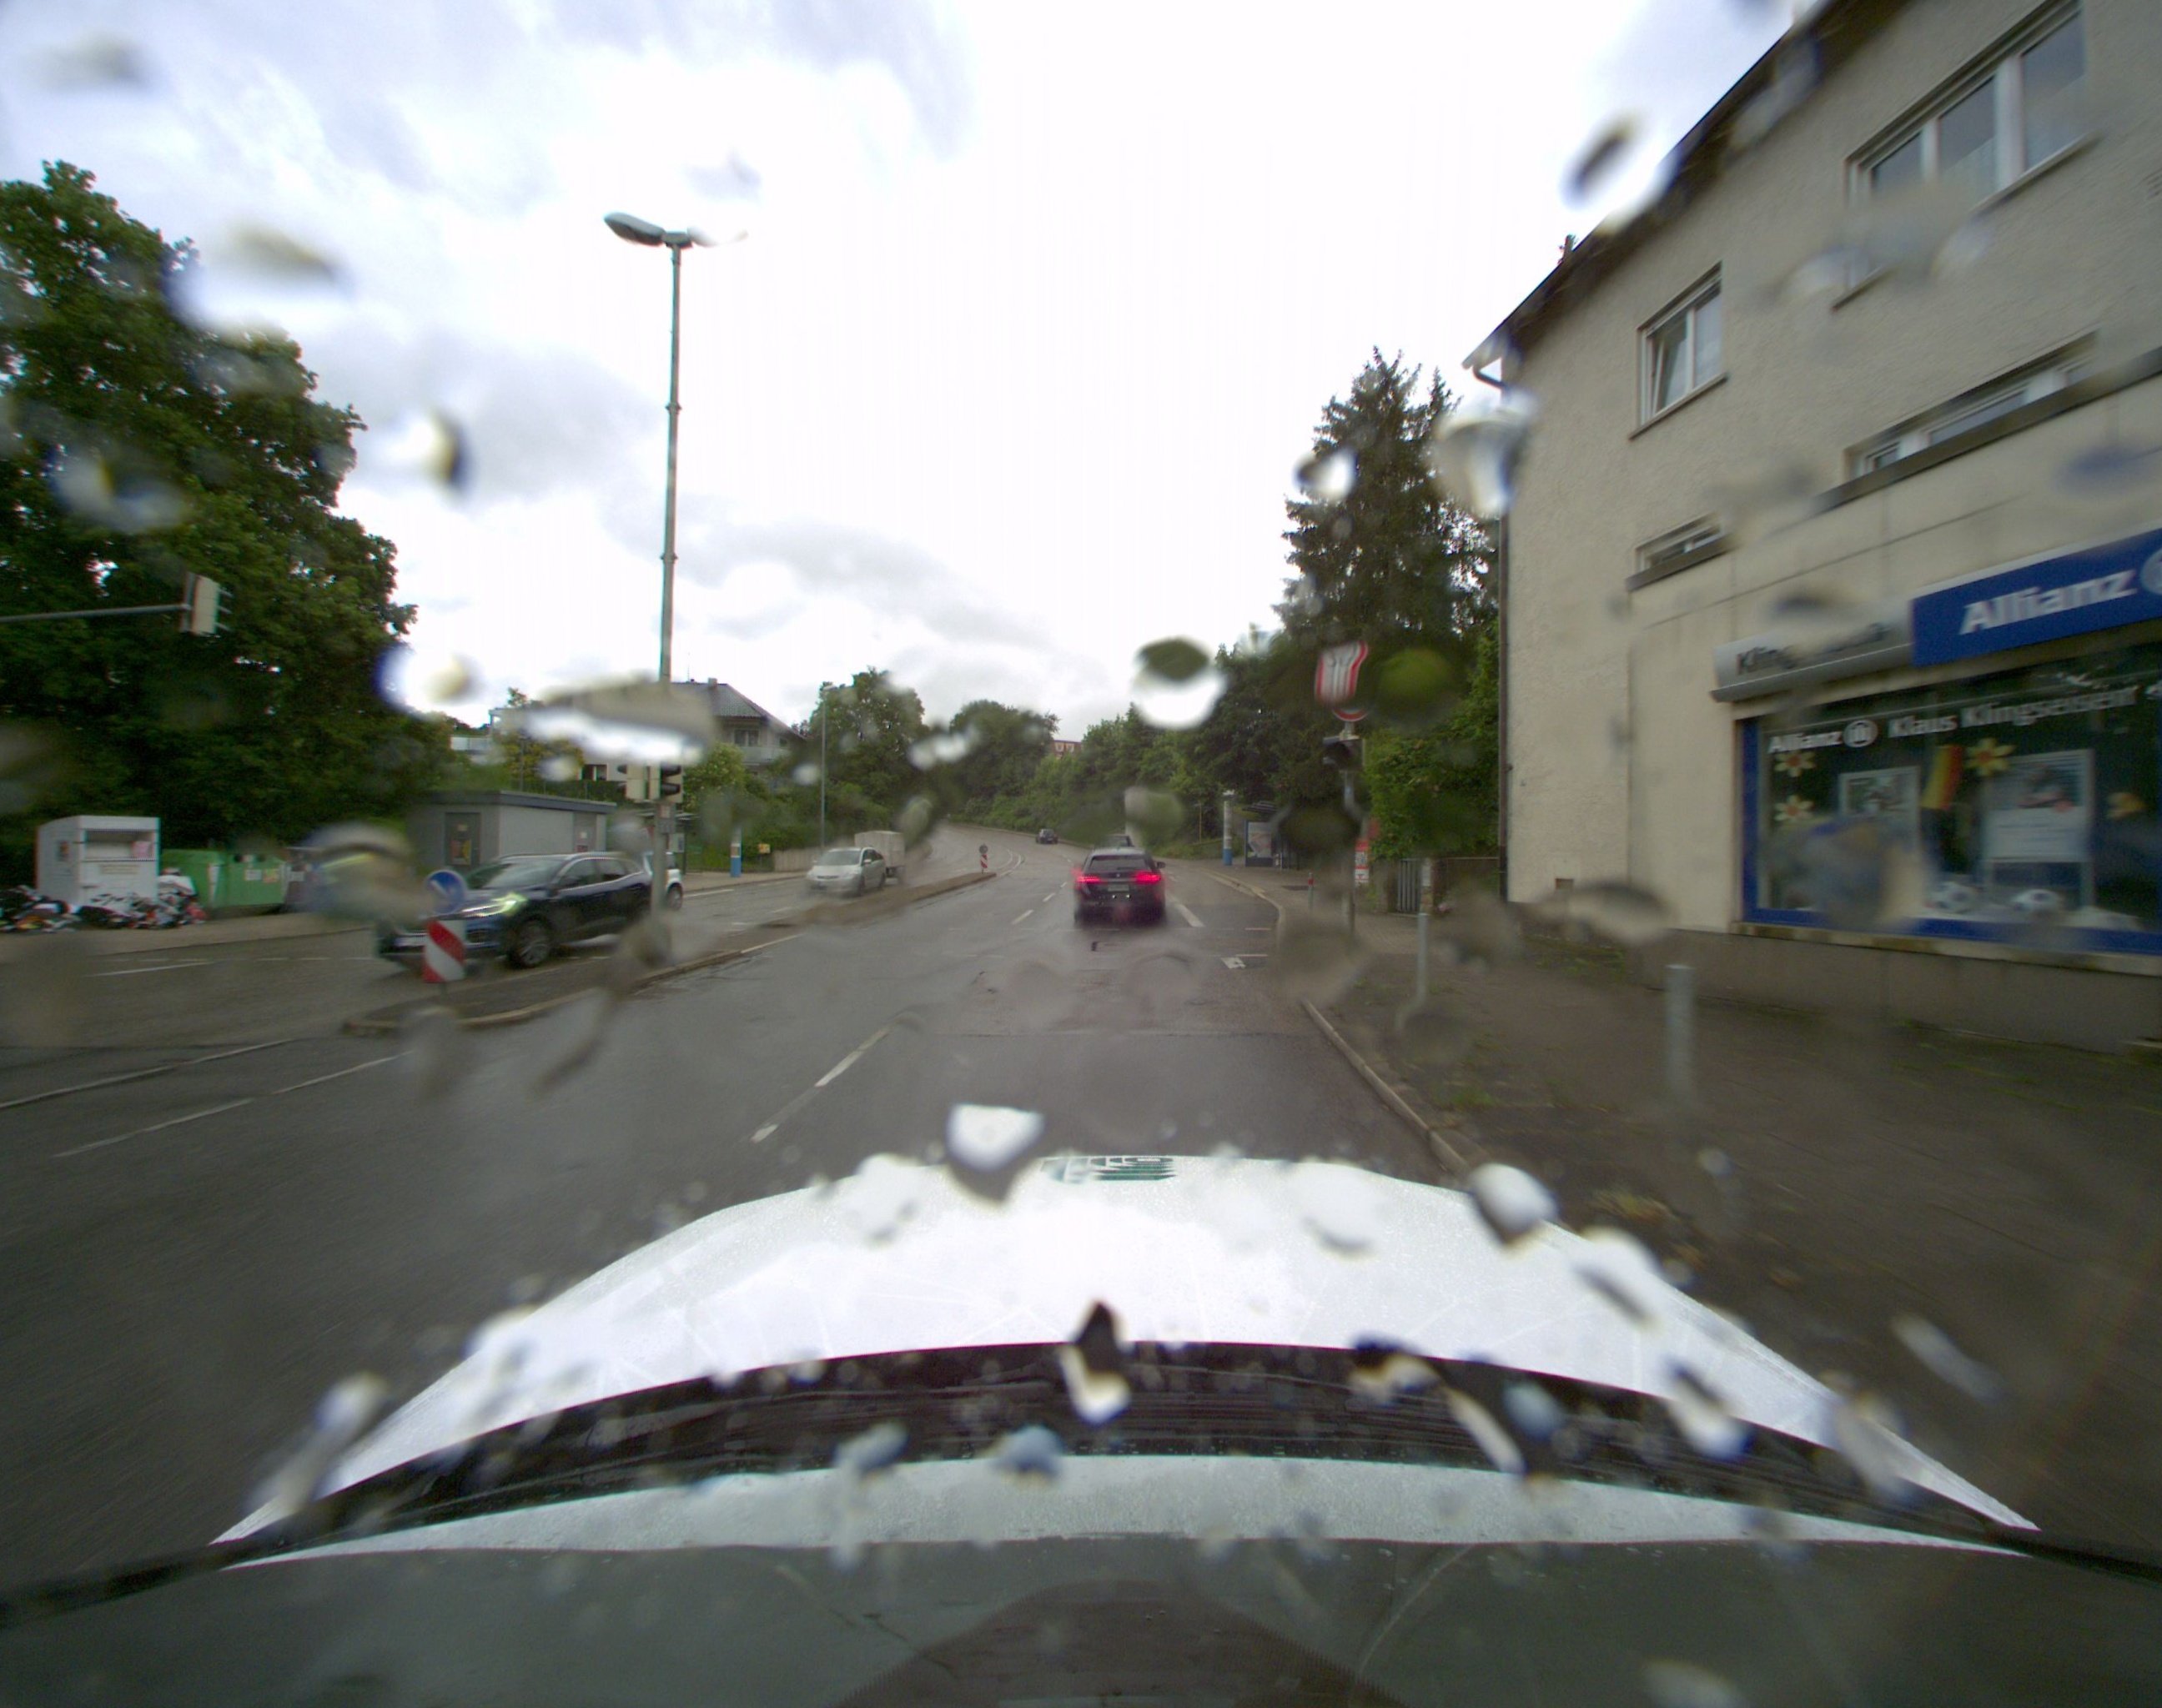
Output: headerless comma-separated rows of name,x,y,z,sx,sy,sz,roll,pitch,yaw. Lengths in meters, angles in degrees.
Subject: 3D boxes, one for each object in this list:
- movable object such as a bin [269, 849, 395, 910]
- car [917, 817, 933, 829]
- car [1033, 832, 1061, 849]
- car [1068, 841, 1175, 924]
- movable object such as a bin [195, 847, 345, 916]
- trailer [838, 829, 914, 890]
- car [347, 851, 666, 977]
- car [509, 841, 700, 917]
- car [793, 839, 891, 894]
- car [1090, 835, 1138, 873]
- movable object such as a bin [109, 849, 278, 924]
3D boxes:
movable object such as a bin,-19.611,0.640,21.363,2.048,1.514,1.346,-1,1,4
car,-21.259,-4.215,110.635,1.895,1.486,4.214,-2,2,-14
car,-3.464,-1.315,82.528,1.856,1.662,3.976,0,1,-18
car,0.748,0.559,17.984,1.988,1.586,4.660,0,0,-2
movable object such as a bin,-19.748,0.648,19.895,2.048,1.568,1.584,-1,1,4
trailer,-7.868,0.198,31.639,1.890,2.179,4.035,-1,0,0
car,-8.425,0.774,12.556,1.836,1.552,4.381,-1,0,-1
car,-11.573,0.564,20.231,1.815,1.657,4.472,-1,0,5
car,-7.897,0.348,27.350,1.893,1.682,4.480,-1,1,0
car,1.556,-0.027,39.662,1.989,1.748,3.997,-1,1,-2
movable object such as a bin,-19.862,0.700,18.299,2.048,1.568,1.584,-1,1,4
